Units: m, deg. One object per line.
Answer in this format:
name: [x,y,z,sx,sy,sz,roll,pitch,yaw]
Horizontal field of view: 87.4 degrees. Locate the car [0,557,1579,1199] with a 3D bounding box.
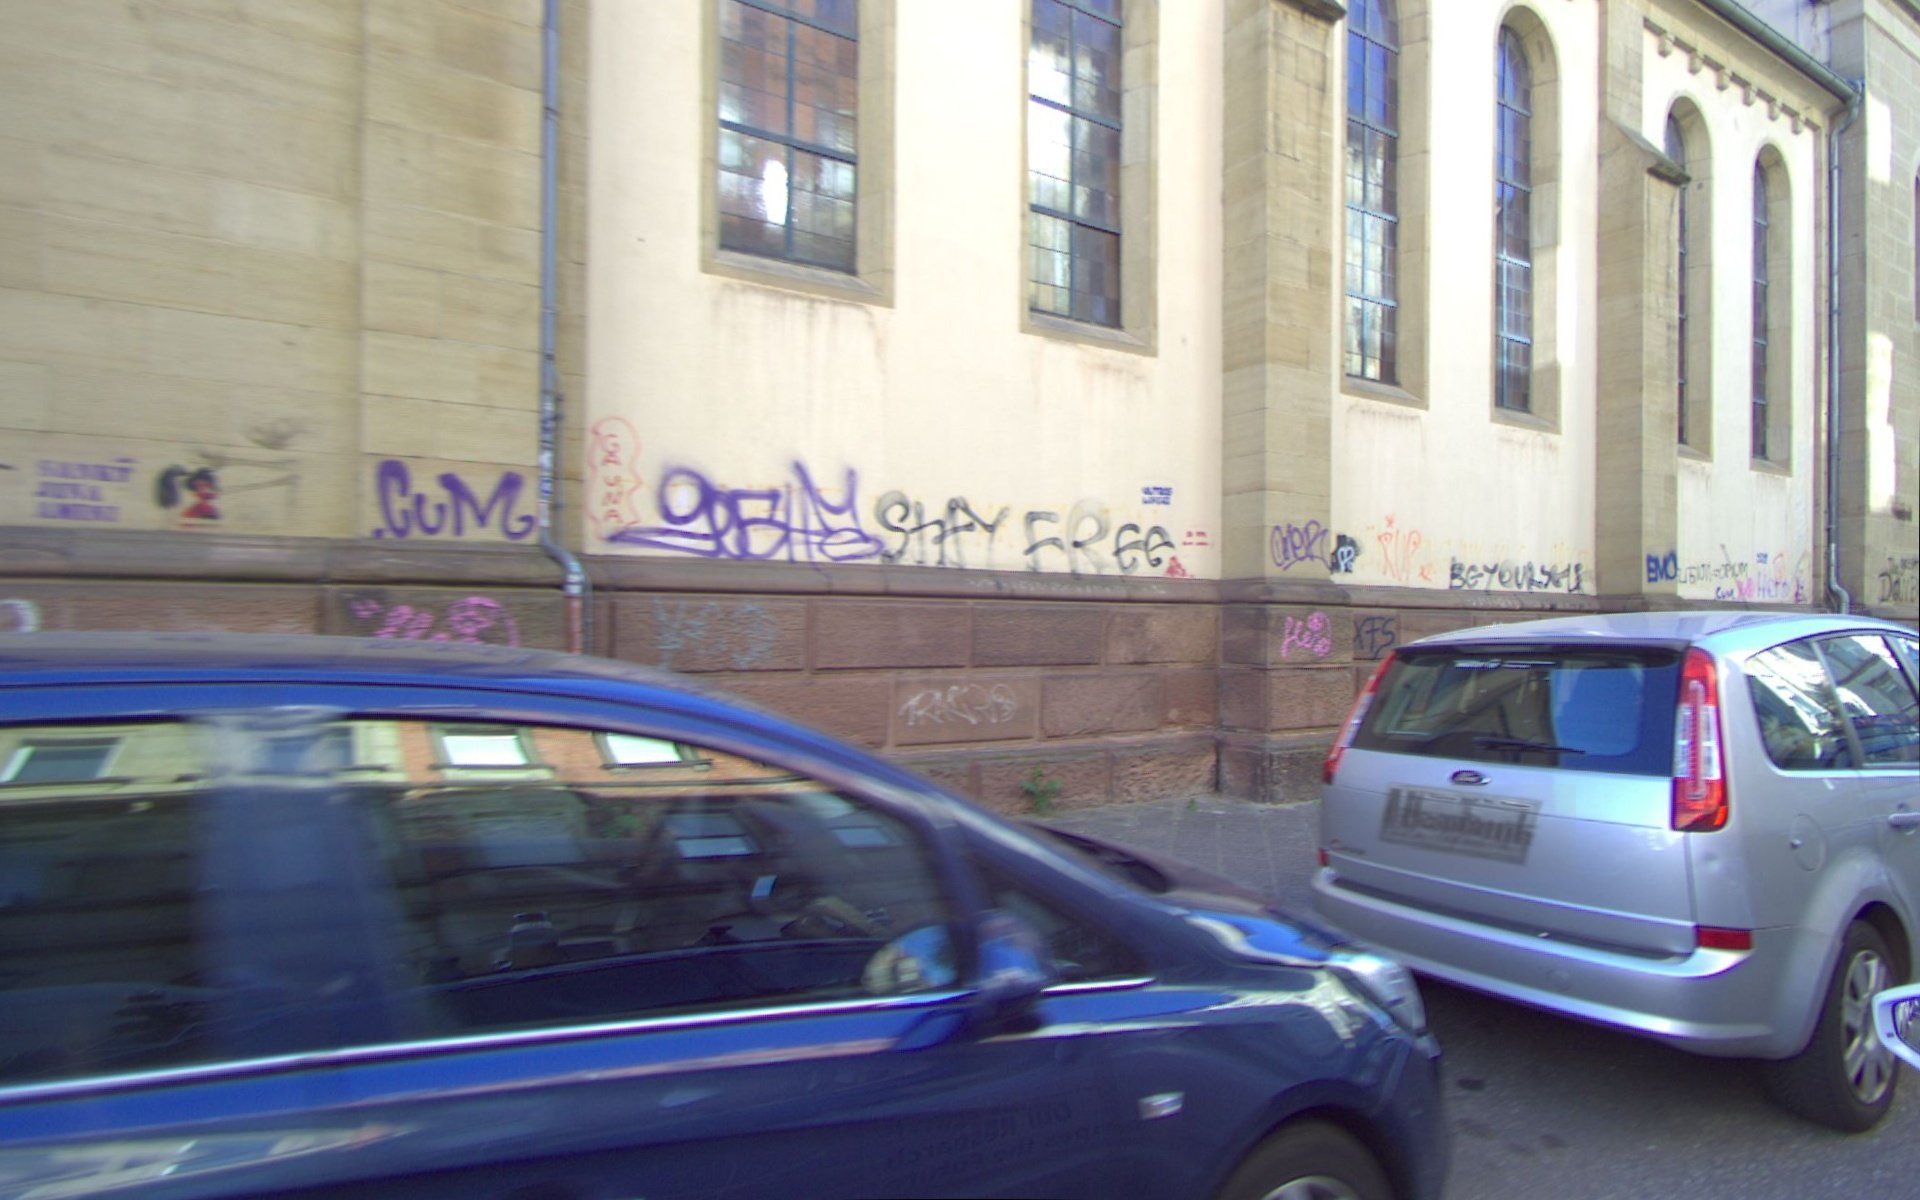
car: [-0.742,0.738,1.879,3.904,1.471,1.608,1,-3,-31]

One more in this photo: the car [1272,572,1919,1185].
car: [3.358,0.777,4.358,3.955,1.579,1.664,1,-2,-31]

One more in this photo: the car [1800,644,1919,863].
car: [7.952,1.019,7.249,3.760,1.416,1.564,1,-4,-28]
